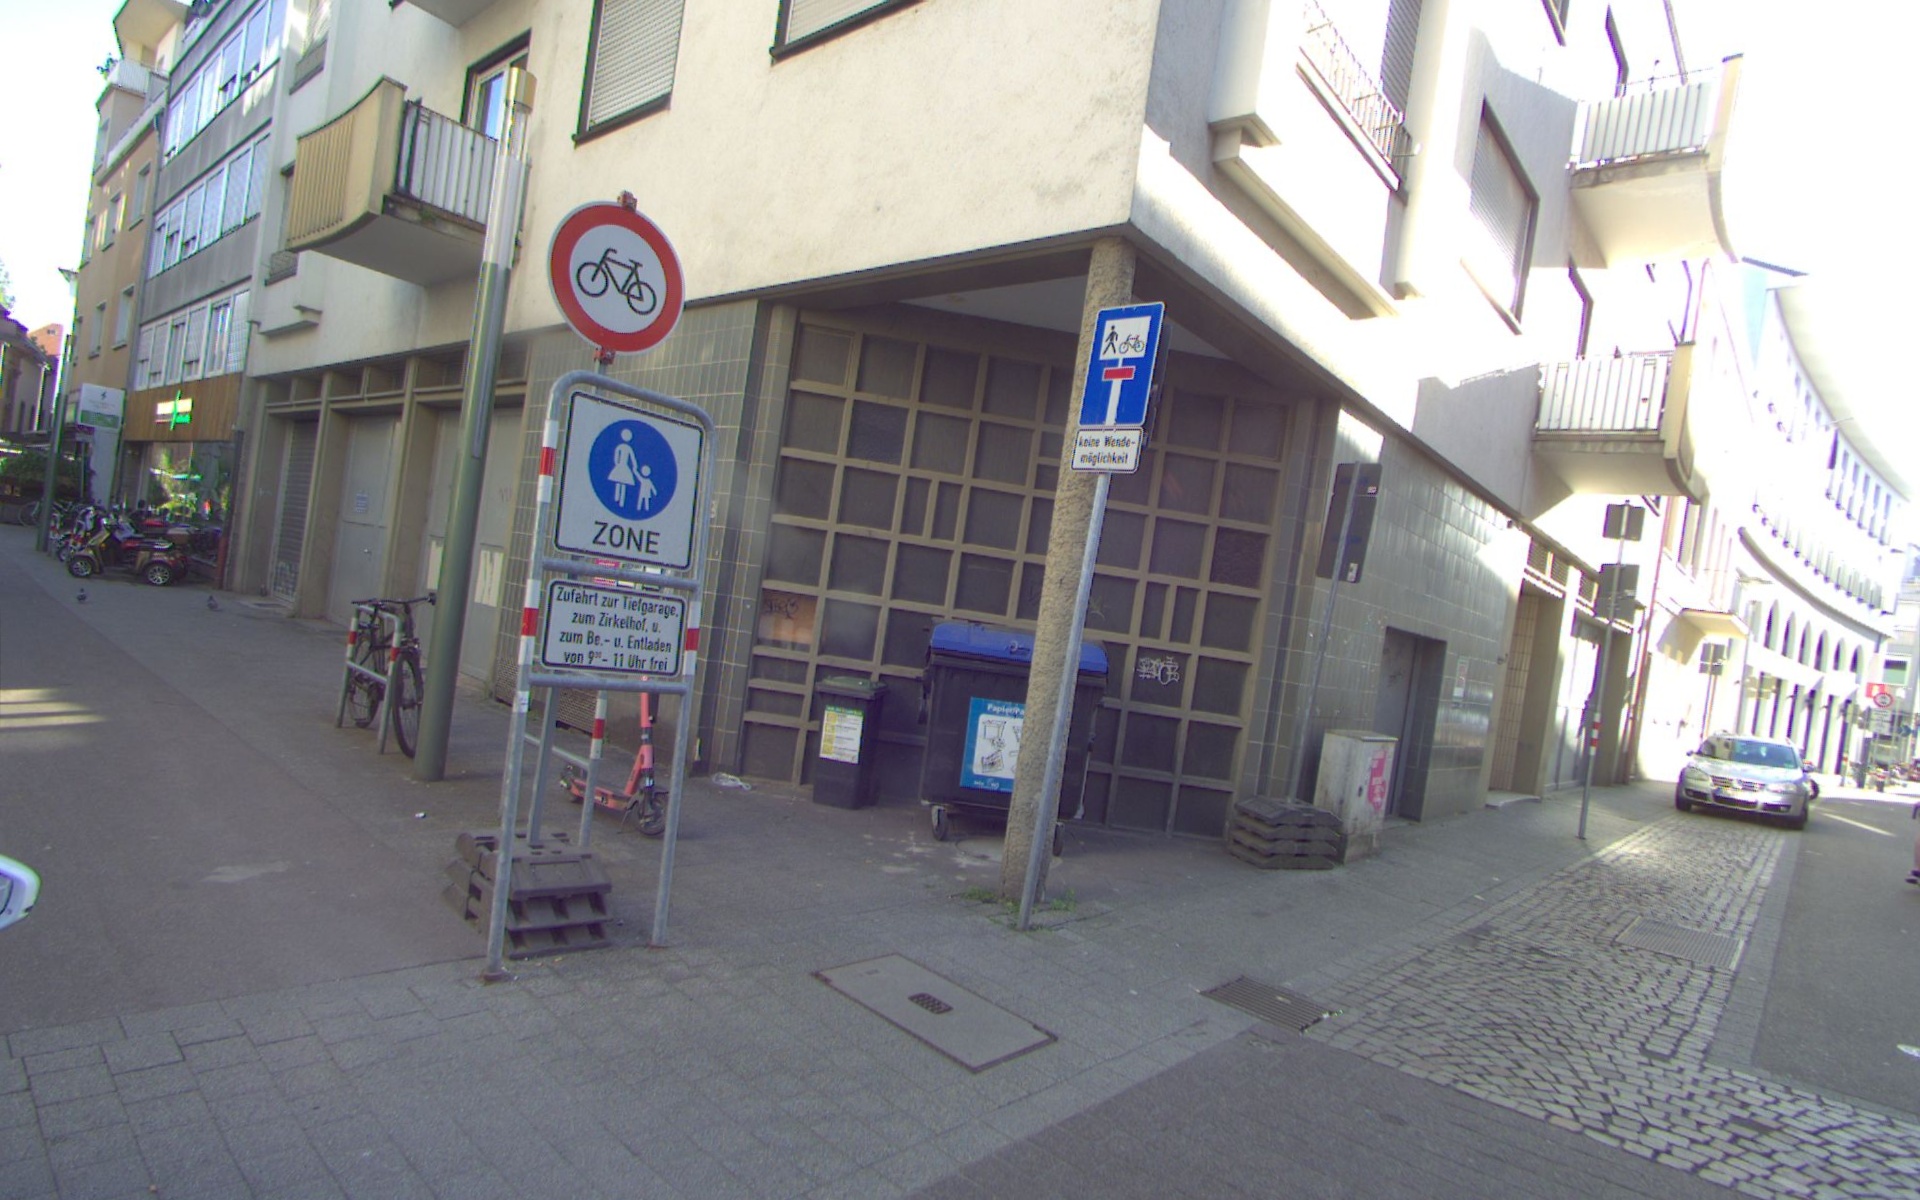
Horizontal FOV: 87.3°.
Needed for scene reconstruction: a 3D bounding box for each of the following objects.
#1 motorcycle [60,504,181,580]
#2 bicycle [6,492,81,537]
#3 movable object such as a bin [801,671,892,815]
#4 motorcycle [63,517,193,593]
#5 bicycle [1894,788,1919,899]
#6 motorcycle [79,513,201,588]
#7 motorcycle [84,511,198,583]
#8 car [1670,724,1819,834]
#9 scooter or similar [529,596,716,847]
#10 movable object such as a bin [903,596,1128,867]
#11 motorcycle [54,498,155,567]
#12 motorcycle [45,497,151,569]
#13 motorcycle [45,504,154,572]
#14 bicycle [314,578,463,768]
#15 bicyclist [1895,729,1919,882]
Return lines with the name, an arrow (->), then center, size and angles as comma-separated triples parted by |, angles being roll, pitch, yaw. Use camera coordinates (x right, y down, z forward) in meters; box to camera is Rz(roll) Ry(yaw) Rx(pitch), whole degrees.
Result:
motorcycle -> -15.948, -1.090, 19.165 | 1.612, 1.189, 0.476 | 8, 0, -30
bicycle -> -25.681, -2.390, 28.225 | 1.458, 1.017, 0.566 | 9, 0, -42
movable object such as a bin -> -0.833, 1.037, 7.422 | 0.532, 0.935, 0.513 | 8, 1, -5
motorcycle -> -13.948, -0.745, 16.908 | 1.552, 1.054, 0.369 | 8, 0, -31
bicycle -> 10.537, 2.623, 10.804 | 1.825, 1.064, 0.567 | 8, -1, -44
motorcycle -> -14.300, -0.857, 17.587 | 1.505, 1.089, 0.409 | 8, 0, -30
motorcycle -> -14.938, -0.957, 18.382 | 1.473, 1.089, 0.409 | 8, 0, -30
car -> 14.081, 3.108, 17.967 | 1.747, 1.487, 3.796 | 6, -2, 42
scooter or similar -> -2.045, 0.682, 6.020 | 1.220, 1.268, 0.307 | 8, 0, 39
movable object such as a bin -> 0.336, 0.872, 7.179 | 1.268, 1.609, 1.154 | 8, 1, -3
motorcycle -> -17.790, -1.396, 20.953 | 1.474, 1.196, 0.408 | 8, 1, -34
motorcycle -> -17.142, -1.318, 20.043 | 1.474, 1.196, 0.408 | 8, 1, -34
motorcycle -> -16.654, -1.183, 19.504 | 1.473, 1.089, 0.409 | 8, 0, -30
bicycle -> -4.162, 0.482, 7.263 | 0.445, 1.153, 1.689 | 8, -1, -43
bicyclist -> 10.559, 2.225, 10.740 | 1.103, 1.577, 0.641 | 8, 0, -44
